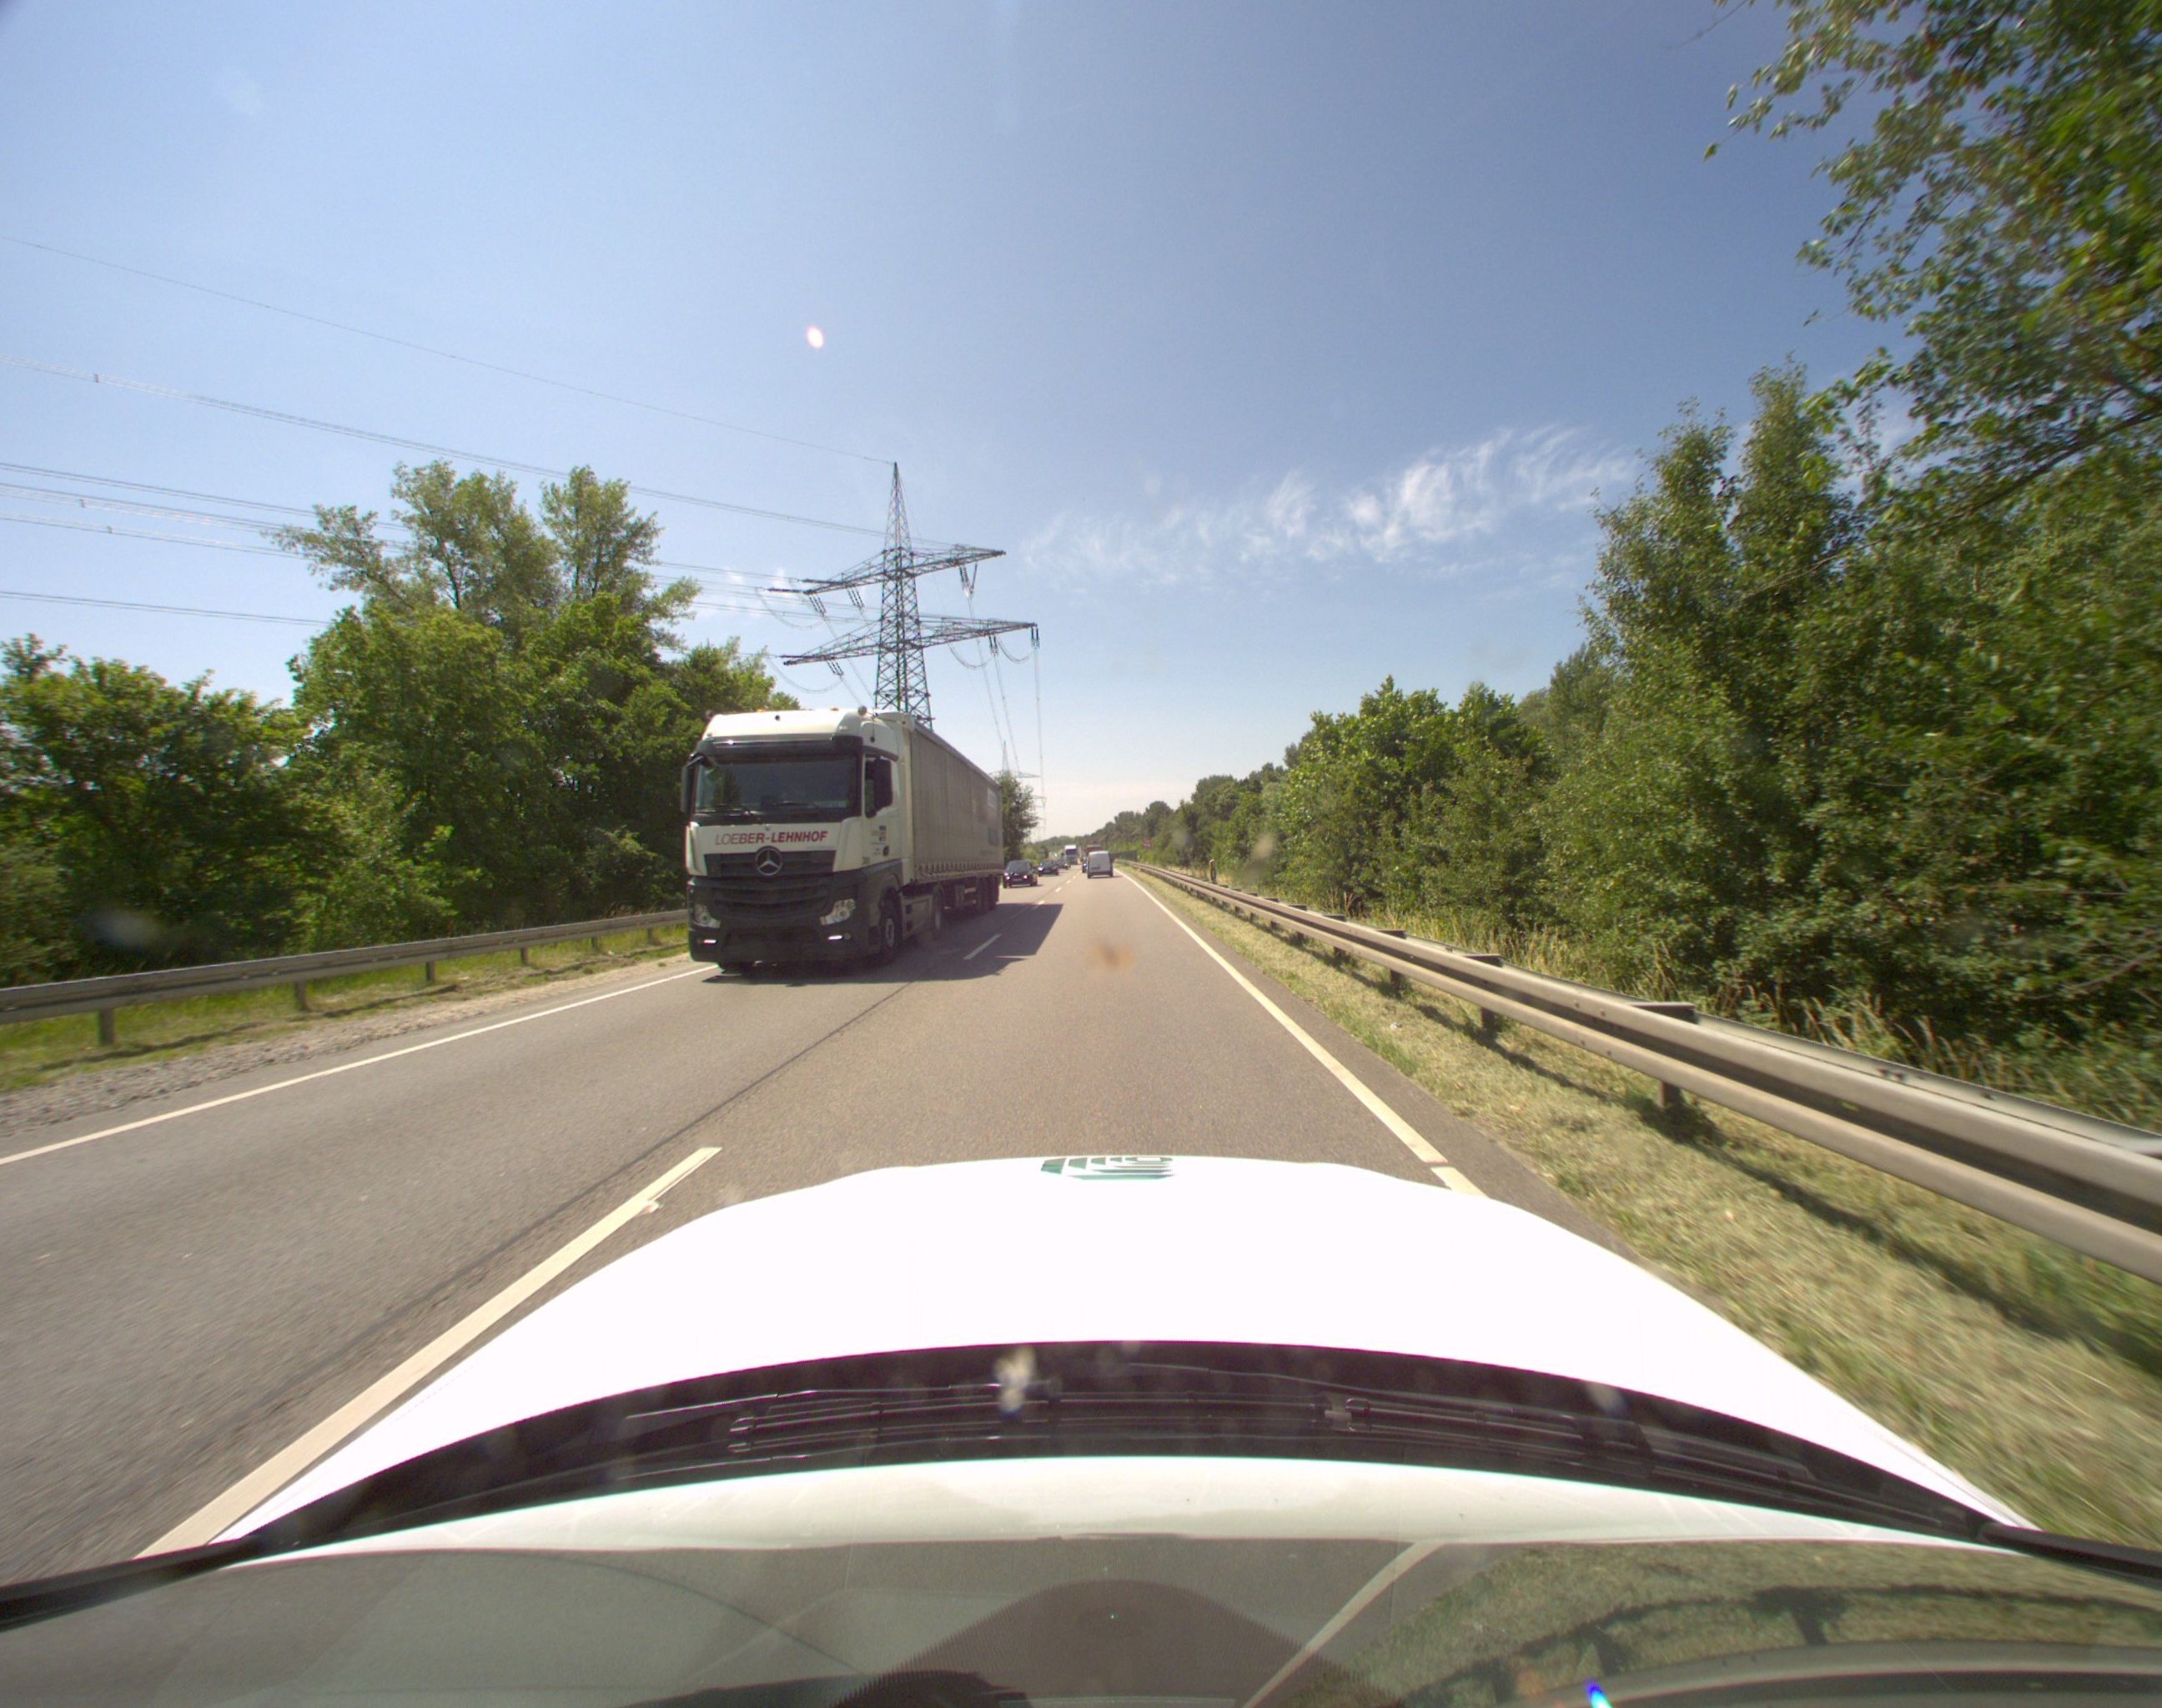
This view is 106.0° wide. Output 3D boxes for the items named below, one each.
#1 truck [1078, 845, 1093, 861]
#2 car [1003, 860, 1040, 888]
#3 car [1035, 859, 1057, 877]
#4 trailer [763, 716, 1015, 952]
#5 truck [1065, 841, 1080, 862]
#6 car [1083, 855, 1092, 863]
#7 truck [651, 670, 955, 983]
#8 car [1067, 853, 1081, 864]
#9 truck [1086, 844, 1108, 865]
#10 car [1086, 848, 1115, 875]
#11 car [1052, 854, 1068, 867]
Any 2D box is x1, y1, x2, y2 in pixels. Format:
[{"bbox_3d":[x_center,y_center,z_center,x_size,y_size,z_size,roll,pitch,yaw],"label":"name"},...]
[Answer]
[{"bbox_3d":[1.087,-0.363,213.189,3.393,3.854,16.808,0,1,-1],"label":"truck"},{"bbox_3d":[-3.325,1.096,46.054,1.627,1.437,4.182,-1,0,2],"label":"car"},{"bbox_3d":[-3.060,1.236,71.137,1.628,1.437,4.414,-3,0,0],"label":"car"},{"bbox_3d":[-3.906,-0.331,21.051,2.753,3.999,13.691,-2,0,2],"label":"trailer"},{"bbox_3d":[-1.769,-0.524,169.211,2.734,4.042,9.664,-4,0,0],"label":"truck"},{"bbox_3d":[1.390,1.124,180.650,1.987,1.526,3.999,-3,0,0],"label":"car"},{"bbox_3d":[-4.123,-0.353,13.657,2.753,3.999,5.909,-3,0,1],"label":"truck"},{"bbox_3d":[-1.062,0.689,122.949,1.986,1.454,4.001,-3,0,1],"label":"car"},{"bbox_3d":[2.533,-0.005,133.617,3.286,3.171,14.401,0,1,0],"label":"truck"},{"bbox_3d":[1.344,0.503,56.018,1.868,1.741,4.001,-2,0,1],"label":"car"},{"bbox_3d":[-2.698,0.819,104.171,1.838,1.497,4.001,-2,0,1],"label":"car"}]
